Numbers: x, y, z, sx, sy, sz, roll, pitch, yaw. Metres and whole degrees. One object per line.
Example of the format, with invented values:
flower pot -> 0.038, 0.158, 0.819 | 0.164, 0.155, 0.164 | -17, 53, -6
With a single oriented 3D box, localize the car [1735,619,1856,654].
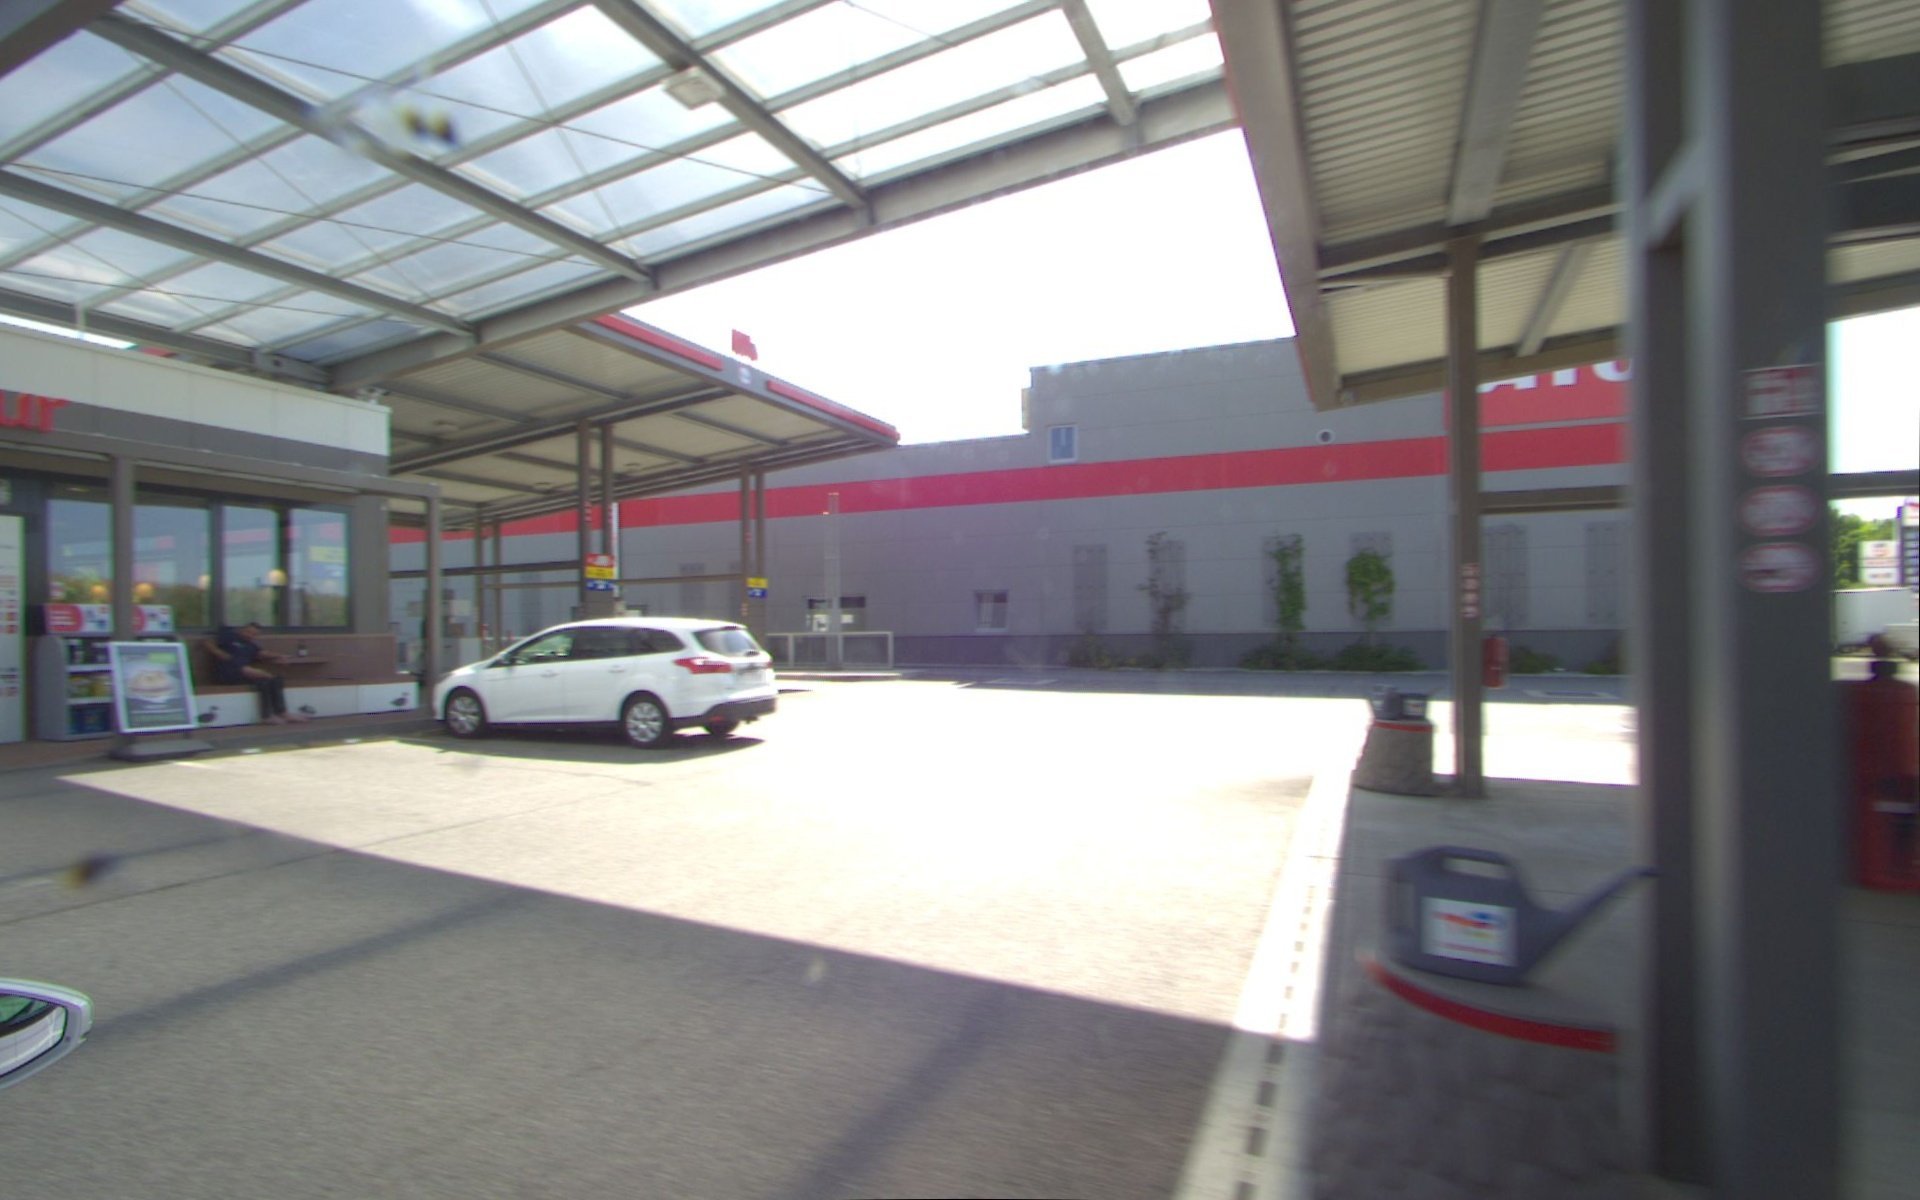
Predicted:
car -> 32.990, 1.435, 39.569 | 3.764, 1.334, 1.680 | 0, 0, -11

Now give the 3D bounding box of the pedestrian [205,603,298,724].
pedestrian -> -8.813, 0.769, 12.475 | 0.661, 1.451, 0.702 | 0, 0, 22

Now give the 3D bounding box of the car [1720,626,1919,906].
car -> 6.976, 0.898, 5.493 | 4.161, 1.488, 1.700 | 0, -1, 23

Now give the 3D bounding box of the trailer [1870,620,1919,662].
trailer -> 31.773, 1.302, 32.205 | 3.646, 1.297, 1.579 | 0, -1, -2

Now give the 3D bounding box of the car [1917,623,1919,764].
car -> 11.765, 0.769, 8.559 | 4.716, 1.875, 2.029 | 1, 0, 23

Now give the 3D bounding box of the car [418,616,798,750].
car -> -4.366, 0.949, 12.553 | 4.243, 1.476, 1.834 | 0, -1, 17

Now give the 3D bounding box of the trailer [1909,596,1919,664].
trailer -> 30.873, 0.894, 29.626 | 3.922, 2.040, 1.803 | 0, -1, -2

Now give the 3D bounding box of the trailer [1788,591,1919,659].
trailer -> 33.537, 0.933, 37.275 | 3.923, 2.459, 2.000 | 0, 0, -4
